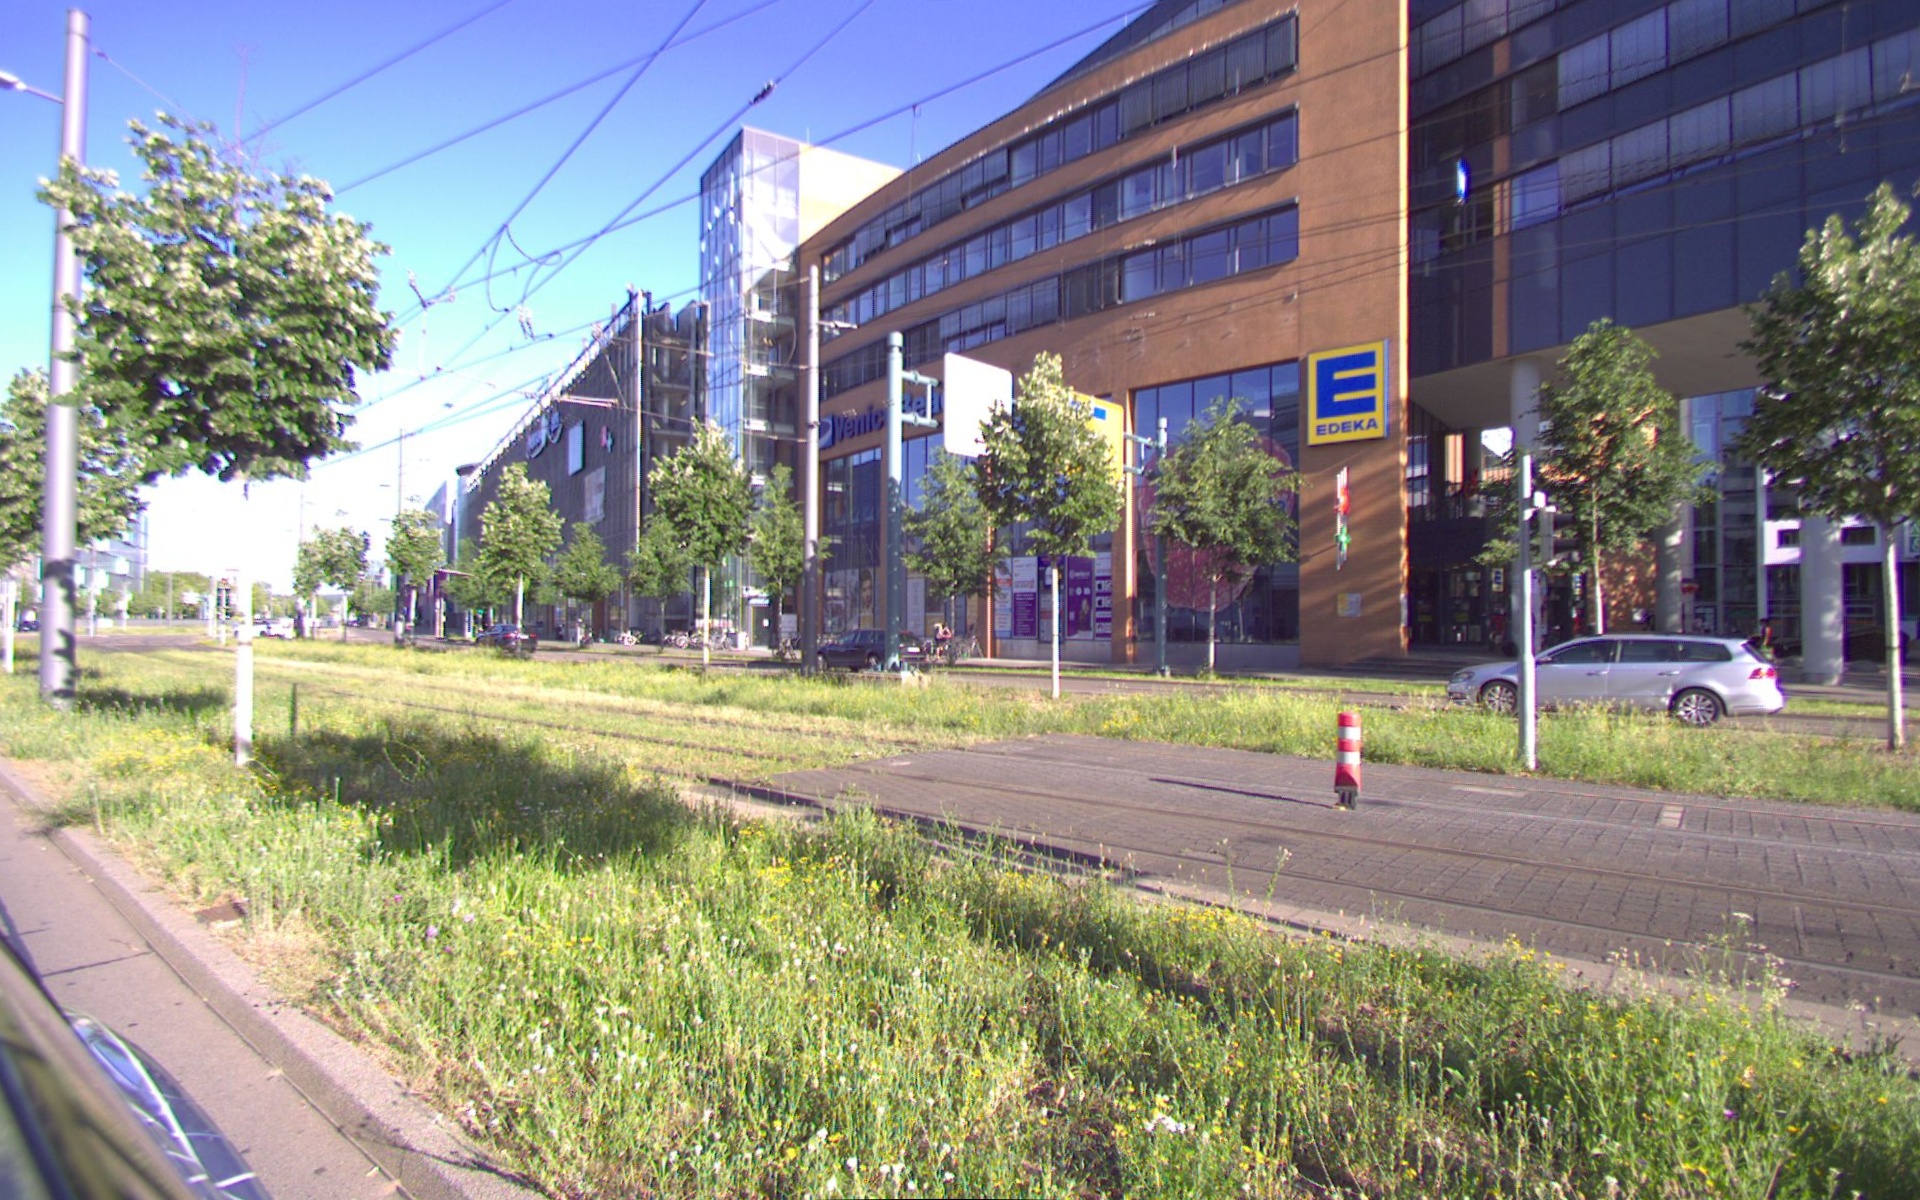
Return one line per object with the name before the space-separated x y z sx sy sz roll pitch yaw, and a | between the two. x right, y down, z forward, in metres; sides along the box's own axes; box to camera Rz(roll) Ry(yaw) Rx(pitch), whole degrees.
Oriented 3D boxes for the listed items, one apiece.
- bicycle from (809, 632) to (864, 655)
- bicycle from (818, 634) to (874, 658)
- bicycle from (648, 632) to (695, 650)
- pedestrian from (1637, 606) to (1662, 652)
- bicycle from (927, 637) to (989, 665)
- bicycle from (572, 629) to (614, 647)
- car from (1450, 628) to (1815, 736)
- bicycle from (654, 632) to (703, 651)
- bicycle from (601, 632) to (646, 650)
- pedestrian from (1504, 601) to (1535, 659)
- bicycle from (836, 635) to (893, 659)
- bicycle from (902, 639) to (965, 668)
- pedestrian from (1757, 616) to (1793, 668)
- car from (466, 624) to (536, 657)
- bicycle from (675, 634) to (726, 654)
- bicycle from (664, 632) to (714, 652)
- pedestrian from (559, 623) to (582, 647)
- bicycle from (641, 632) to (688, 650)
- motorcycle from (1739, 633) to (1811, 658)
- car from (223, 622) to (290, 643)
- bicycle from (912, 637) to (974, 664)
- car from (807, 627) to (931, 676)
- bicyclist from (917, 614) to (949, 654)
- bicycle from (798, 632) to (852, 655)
bicycle | -6.146 2.184 50.593 2.648 1.112 0.897 1 -3 -39
bicycle | -5.543 2.228 49.405 2.648 1.112 0.897 1 -3 -39
bicycle | -17.462 2.480 61.308 2.648 1.112 0.827 1 -3 -39
pedestrian | 26.163 1.115 38.419 0.698 1.718 0.724 -1 -2 40
bicycle | -0.060 2.127 42.597 2.648 1.112 0.897 1 -3 -39
bicycle | -25.563 2.637 70.497 2.648 1.198 0.897 1 -3 -39
car | 10.864 1.242 16.715 4.792 1.539 1.608 -1 -2 35
bicycle | -16.823 2.471 60.554 2.648 1.112 0.897 1 -3 -39
bicycle | -21.963 2.670 66.009 2.648 1.112 0.897 1 -3 -39
pedestrian | 16.992 0.914 30.739 0.698 1.718 0.724 -1 -2 40
bicycle | -4.510 2.215 48.088 2.648 1.112 0.897 1 -3 -39
bicycle | -1.068 2.147 40.737 2.691 1.112 0.883 -2 -3 43
pedestrian | 26.035 1.329 32.342 0.688 1.635 0.735 1 -2 -37
car | -22.258 1.952 49.010 4.357 1.539 1.603 -2 -3 45
bicycle | -14.739 2.483 57.484 2.648 1.112 0.897 1 -3 -39
bicycle | -15.819 2.457 59.111 2.648 1.112 0.897 1 -3 -39
pedestrian | -27.650 2.463 71.796 1.093 1.694 1.059 -1 -2 35
bicycle | -18.077 2.492 61.992 2.648 1.112 0.897 1 -3 -39
motorcycle | 35.705 1.974 44.367 0.819 1.066 2.347 1 -2 -40
car | -53.496 2.493 76.933 4.310 1.539 1.672 0 -2 12
bicycle | -0.714 2.161 43.416 2.648 1.112 0.897 1 -3 -39
car | -3.095 1.689 33.788 4.354 1.539 1.605 -1 -3 42
bicyclist | -1.072 1.371 40.772 0.939 1.560 0.883 -2 -3 41
bicycle | -6.874 2.196 51.530 2.648 1.112 0.897 1 -3 -39
